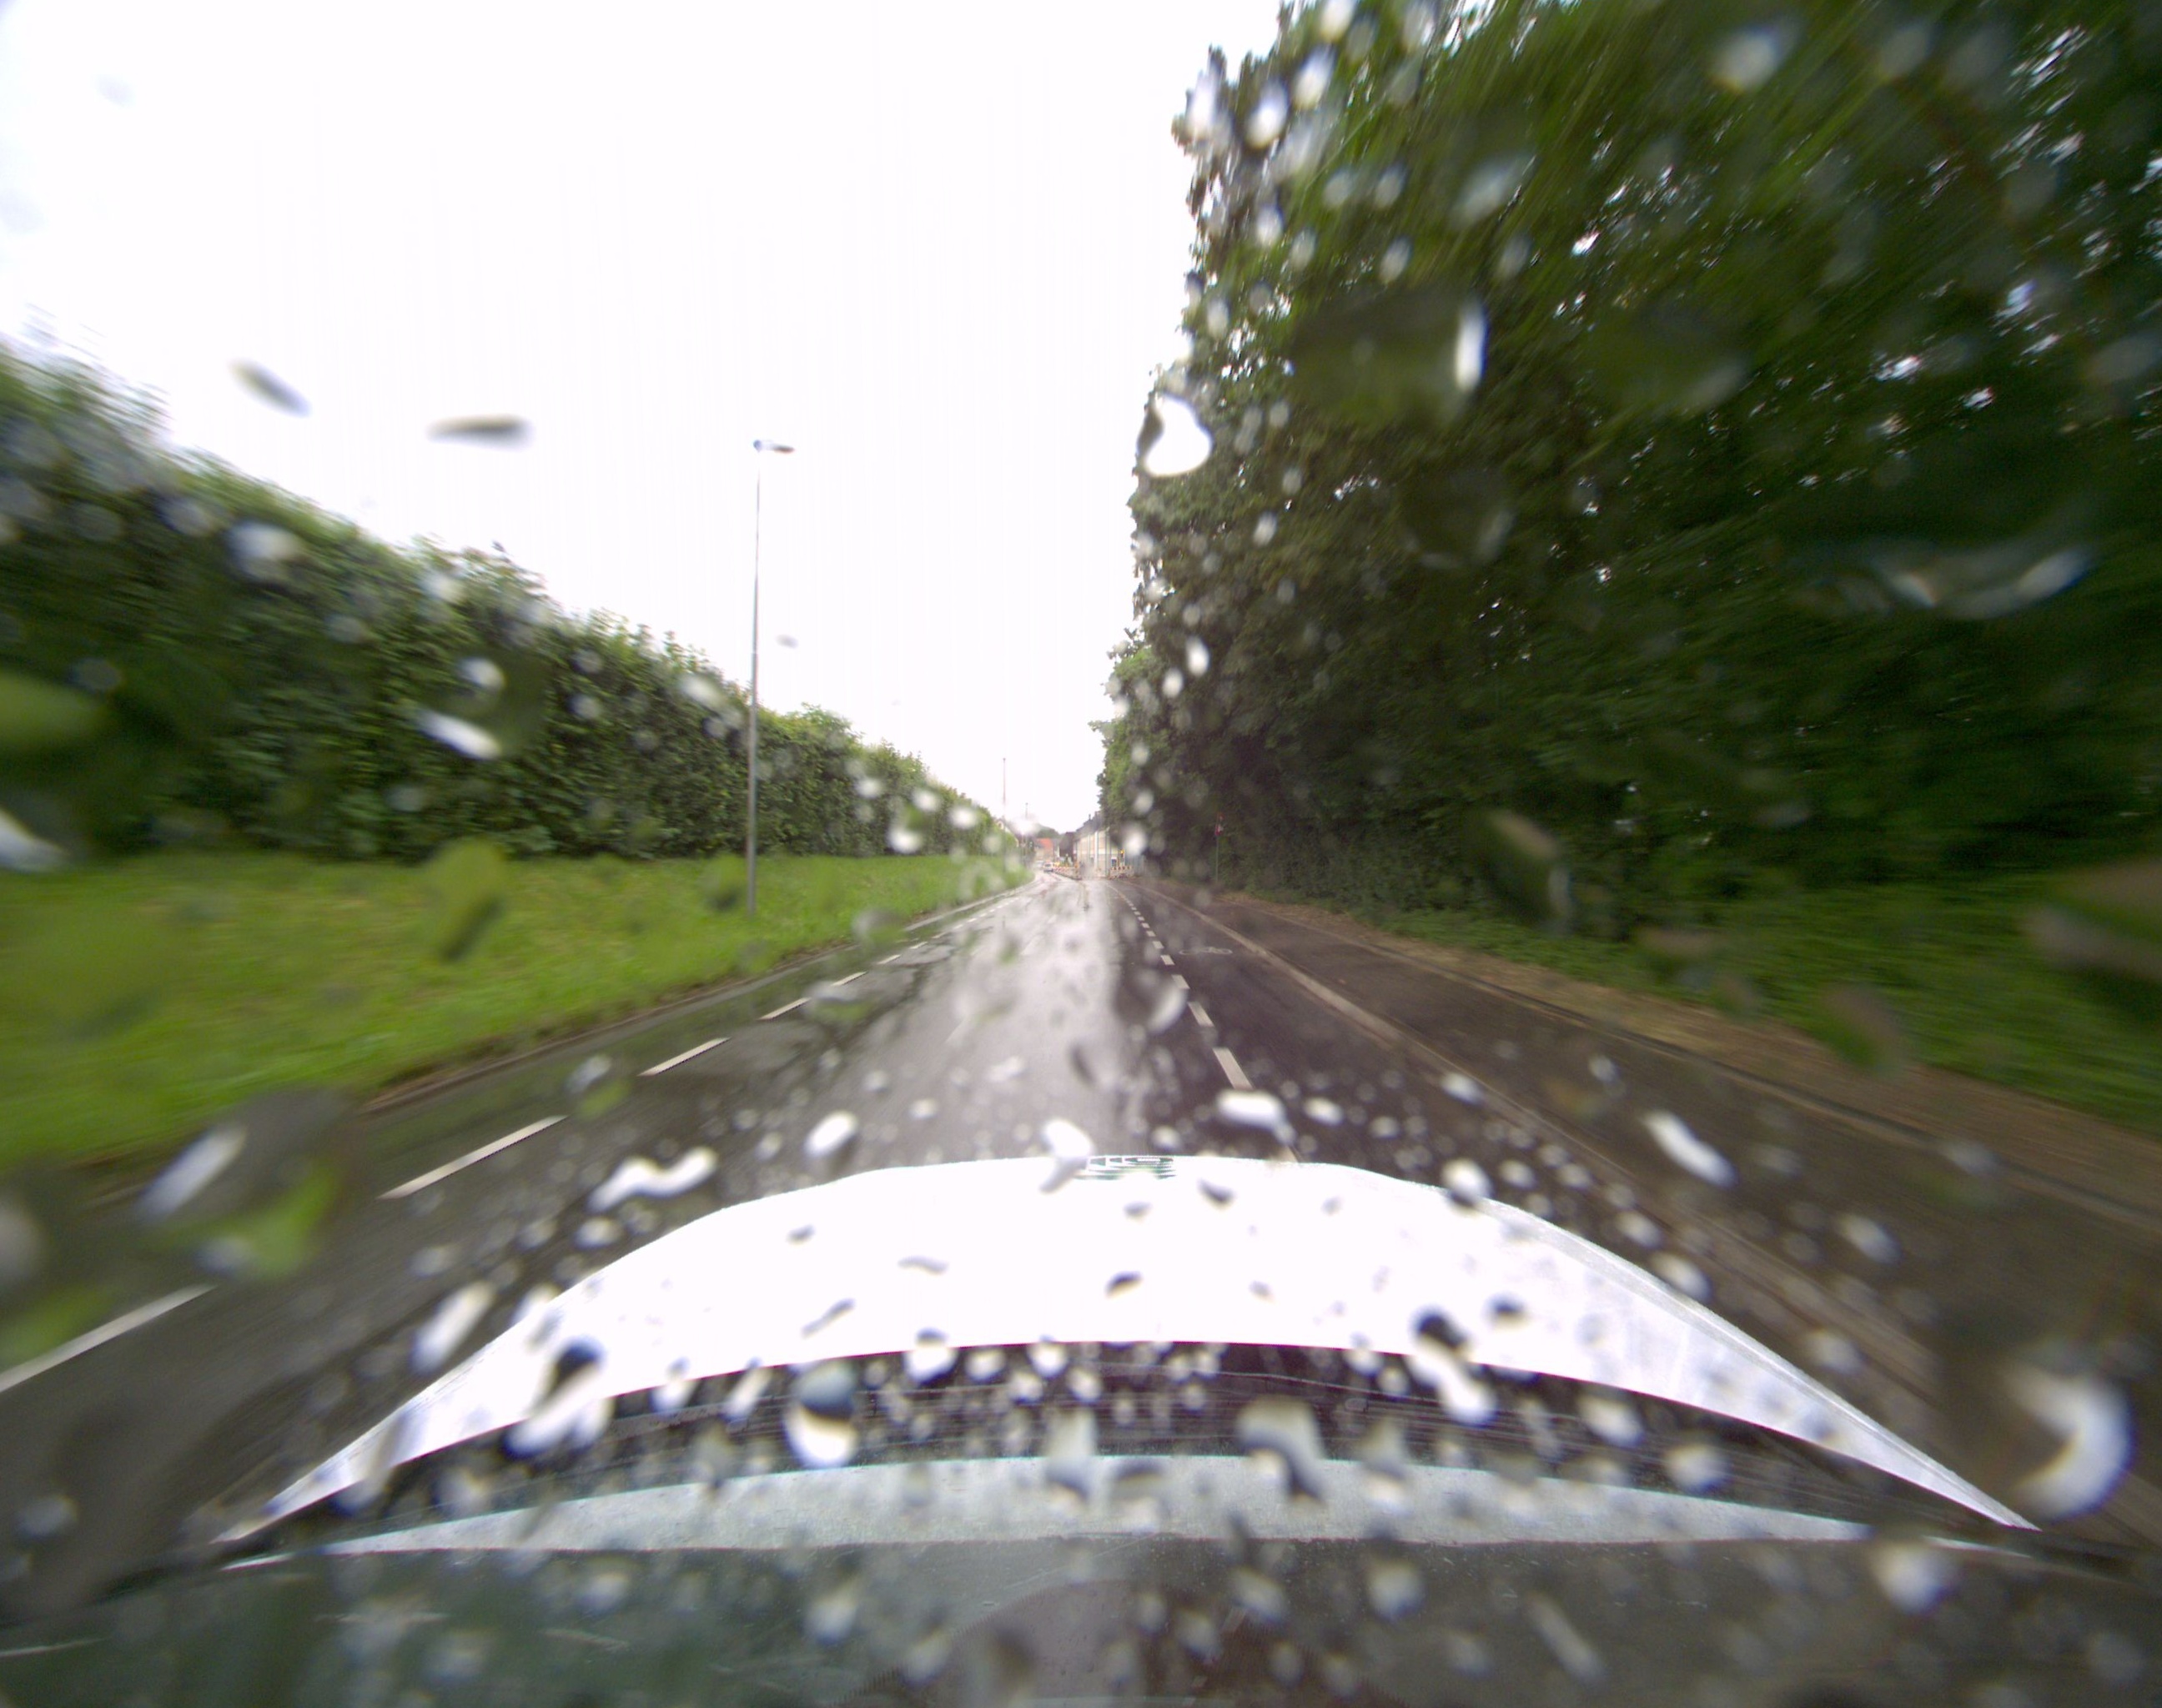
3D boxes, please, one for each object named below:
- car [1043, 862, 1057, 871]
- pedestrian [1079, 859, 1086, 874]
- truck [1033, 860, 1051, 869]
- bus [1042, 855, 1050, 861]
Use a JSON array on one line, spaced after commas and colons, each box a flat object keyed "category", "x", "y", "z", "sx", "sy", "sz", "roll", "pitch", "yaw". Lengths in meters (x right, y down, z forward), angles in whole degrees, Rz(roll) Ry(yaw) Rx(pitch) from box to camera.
[{"category": "car", "x": -5.911, "y": 2.343, "z": 153.724, "sx": 1.984, "sy": 1.611, "sz": 4.006, "roll": 6, "pitch": 0, "yaw": 5}, {"category": "pedestrian", "x": 0.218, "y": 1.564, "z": 99.647, "sx": 0.665, "sy": 1.755, "sz": 0.809, "roll": 1, "pitch": 0, "yaw": -10}, {"category": "truck", "x": -8.860, "y": 2.388, "z": 183.841, "sx": 1.976, "sy": 2.013, "sz": 4.932, "roll": 1, "pitch": 1, "yaw": 24}, {"category": "bus", "x": -9.358, "y": 0.996, "z": 218.418, "sx": 1.789, "sy": 1.409, "sz": 3.998, "roll": 1, "pitch": 1, "yaw": -1}]
